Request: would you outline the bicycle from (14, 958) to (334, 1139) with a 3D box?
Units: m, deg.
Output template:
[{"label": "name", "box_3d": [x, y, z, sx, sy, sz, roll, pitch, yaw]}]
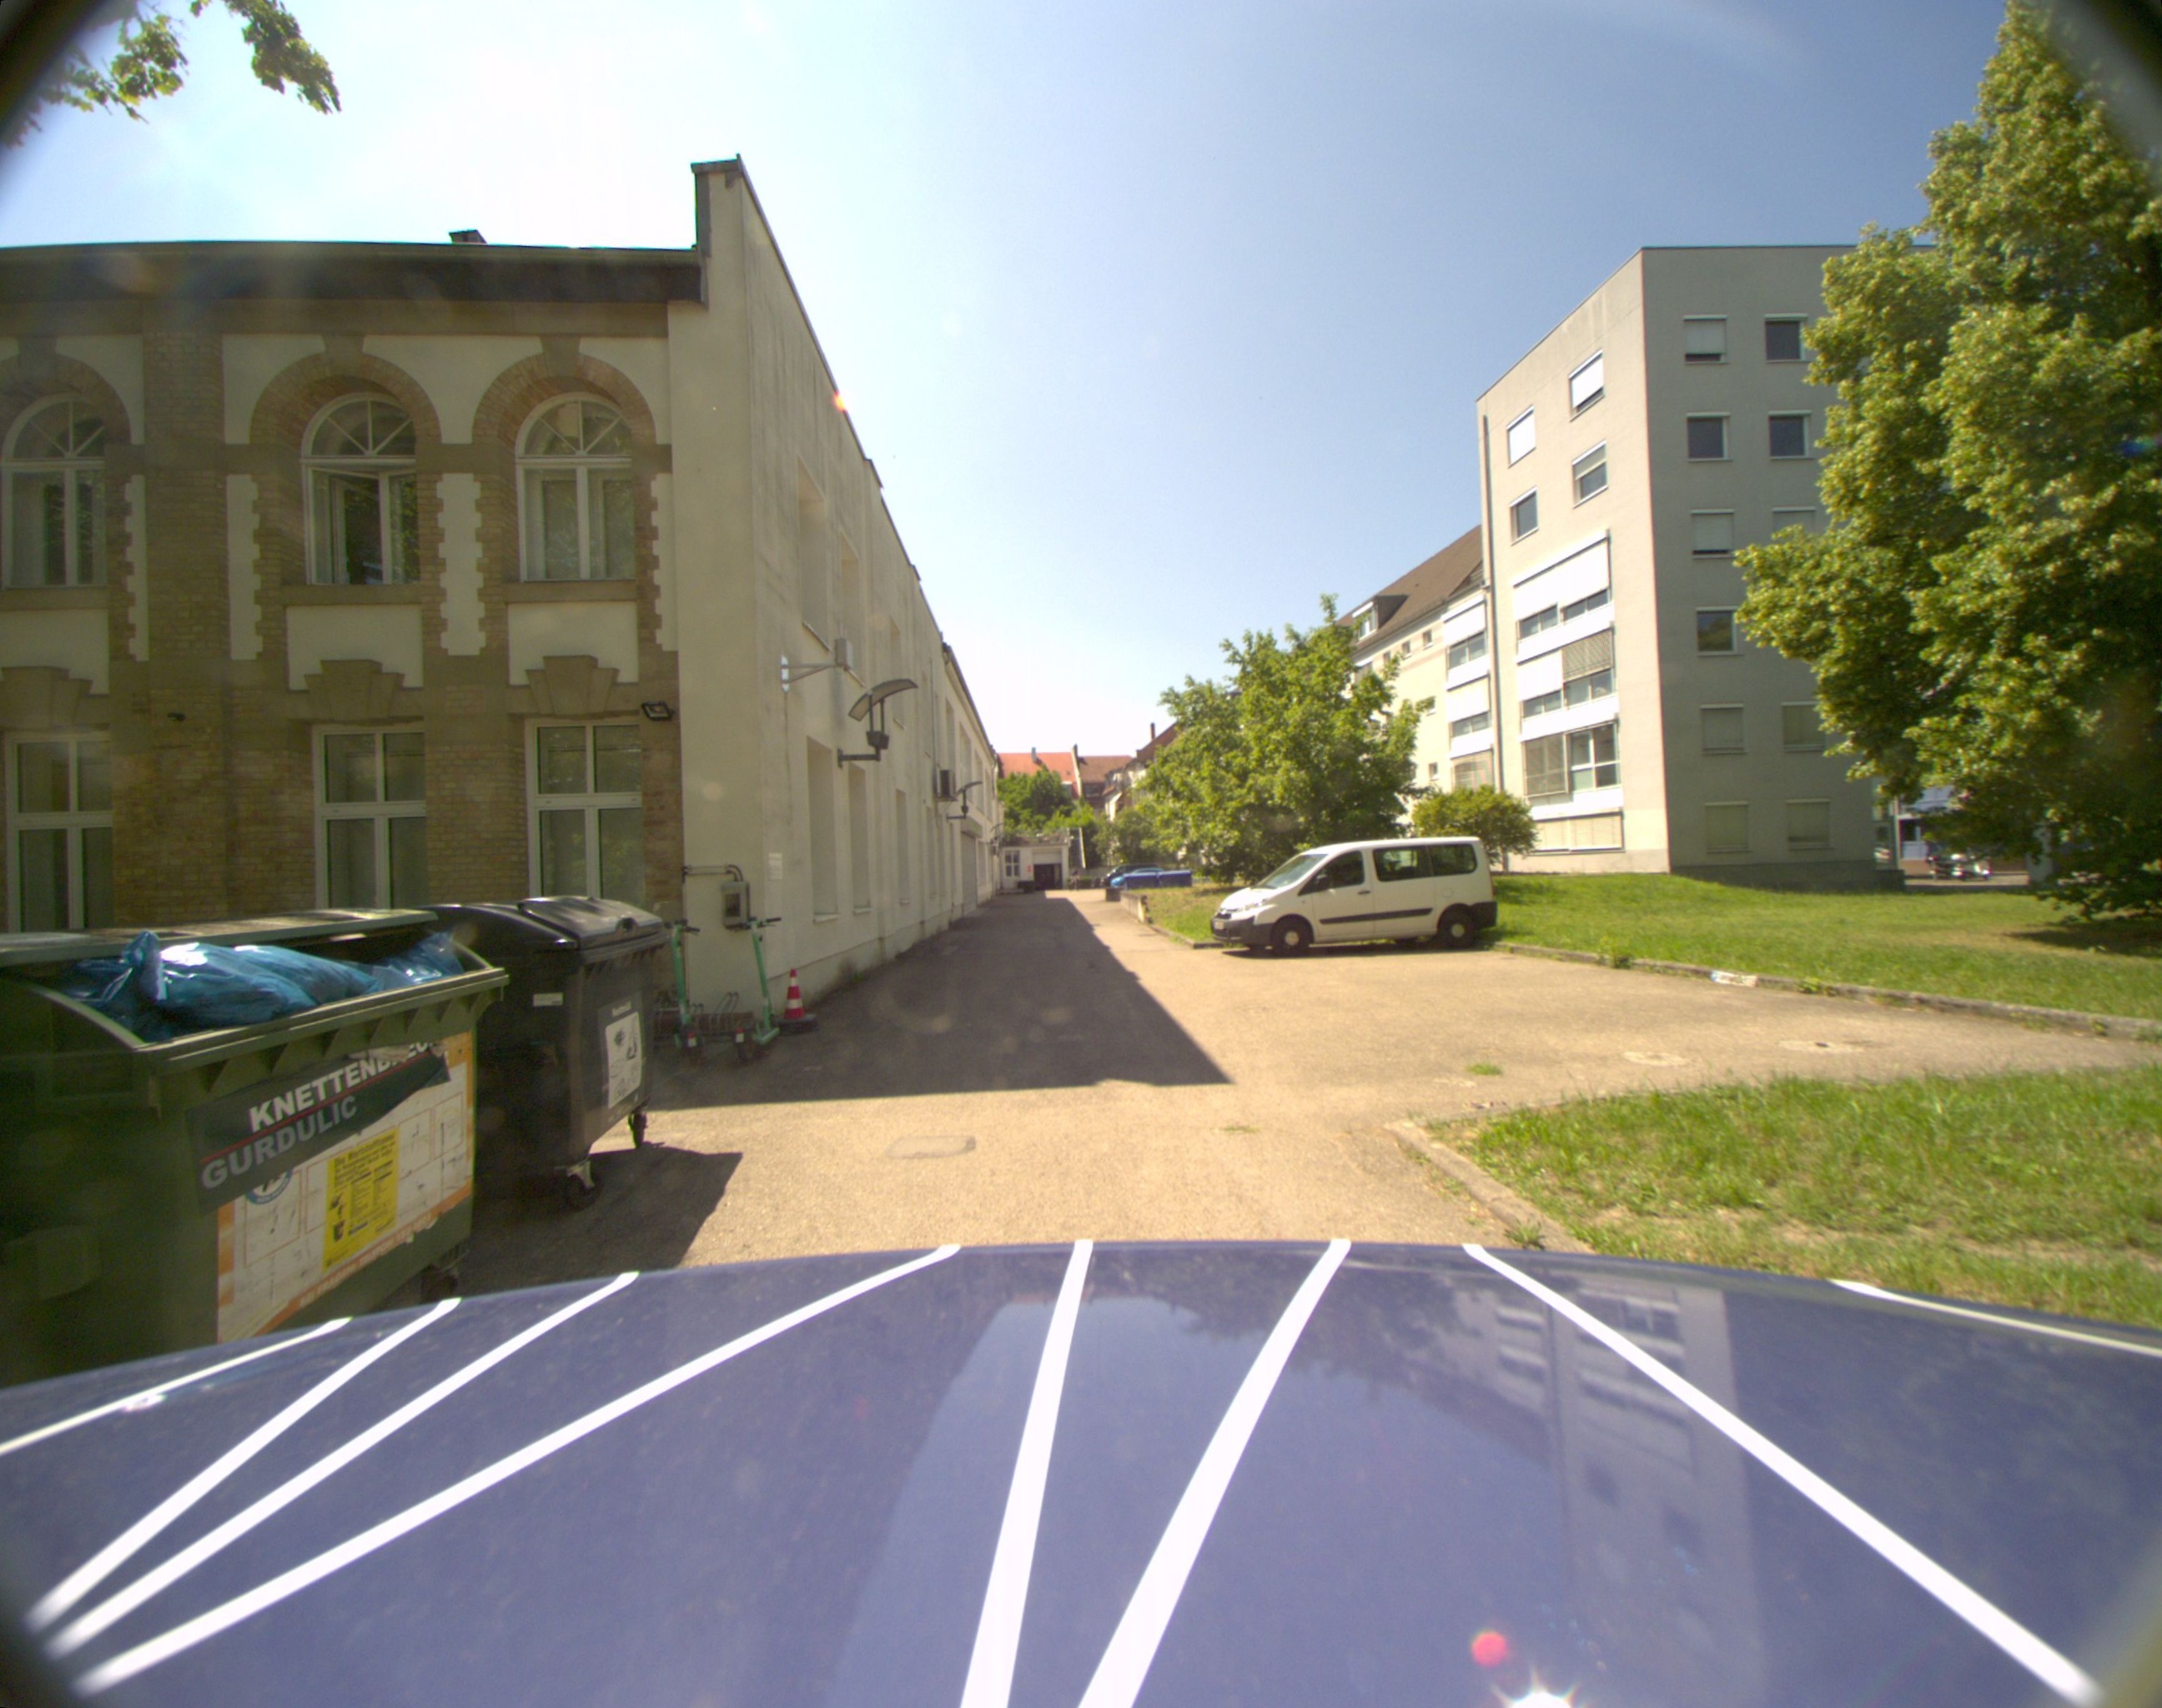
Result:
[{"label": "bicycle", "box_3d": [-7.442, 1.530, 6.399, 0.504, 1.061, 1.835, -2, -1, -2]}]

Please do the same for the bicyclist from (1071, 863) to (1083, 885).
[{"label": "bicyclist", "box_3d": [-0.299, 1.544, 58.295, 0.724, 1.599, 0.978, -3, 0, 4]}]

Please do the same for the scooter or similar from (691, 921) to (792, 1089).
[{"label": "scooter or similar", "box_3d": [-2.889, 1.227, 6.565, 0.465, 1.167, 1.356, -2, 0, -11]}]

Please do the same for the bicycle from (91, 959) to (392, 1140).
[{"label": "bicycle", "box_3d": [-6.873, 1.534, 6.386, 0.504, 1.061, 1.835, -2, -1, -2]}]

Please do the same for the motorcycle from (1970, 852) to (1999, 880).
[{"label": "motorcycle", "box_3d": [39.875, 0.526, 33.544, 2.337, 1.161, 0.698, -2, 0, -42]}]

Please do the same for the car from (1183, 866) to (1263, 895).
[{"label": "car", "box_3d": [7.737, 1.429, 41.584, 3.999, 1.428, 1.710, -1, -1, -7]}]

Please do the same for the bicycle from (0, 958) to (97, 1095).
[{"label": "bicycle", "box_3d": [-9.486, 1.512, 6.208, 0.523, 1.096, 1.835, -2, -1, -2]}]

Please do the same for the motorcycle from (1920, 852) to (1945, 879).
[{"label": "motorcycle", "box_3d": [38.718, 0.508, 34.576, 2.308, 1.161, 0.698, -2, 0, -42]}]

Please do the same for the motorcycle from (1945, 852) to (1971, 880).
[{"label": "motorcycle", "box_3d": [39.316, 0.513, 34.076, 2.315, 1.161, 0.698, -2, 0, -42]}]

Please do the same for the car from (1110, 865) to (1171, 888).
[{"label": "car", "box_3d": [4.432, 1.647, 56.525, 4.169, 1.544, 1.858, -2, -1, -8]}]

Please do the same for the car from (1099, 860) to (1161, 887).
[{"label": "car", "box_3d": [3.793, 1.518, 59.241, 4.450, 1.821, 1.999, -3, 0, -6]}]

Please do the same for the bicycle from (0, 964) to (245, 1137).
[{"label": "bicycle", "box_3d": [-8.193, 1.564, 6.305, 0.504, 1.061, 1.835, -2, -1, -2]}]

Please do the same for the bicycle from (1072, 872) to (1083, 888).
[{"label": "bicycle", "box_3d": [-0.264, 2.005, 58.375, 0.645, 1.167, 1.905, -3, -1, 3]}]

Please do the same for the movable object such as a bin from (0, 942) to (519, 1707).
[{"label": "movable object such as a bin", "box_3d": [-2.564, 1.073, 2.018, 1.183, 1.461, 1.310, -3, 1, -9]}]

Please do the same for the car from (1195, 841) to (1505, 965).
[{"label": "car", "box_3d": [4.680, 0.821, 13.616, 4.804, 1.899, 1.999, -1, -2, -8]}]

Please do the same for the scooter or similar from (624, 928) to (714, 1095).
[{"label": "scooter or similar", "box_3d": [-3.498, 1.279, 6.528, 0.465, 1.167, 1.254, -2, 0, -20]}]

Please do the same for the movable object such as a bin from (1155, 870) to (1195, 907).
[{"label": "movable object such as a bin", "box_3d": [3.551, 1.285, 28.809, 1.258, 1.320, 1.104, -3, -1, -3]}]

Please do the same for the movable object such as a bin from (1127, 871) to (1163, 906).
[{"label": "movable object such as a bin", "box_3d": [2.570, 1.353, 30.524, 1.258, 1.320, 1.104, -3, -1, -3]}]

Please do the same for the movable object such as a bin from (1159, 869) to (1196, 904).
[{"label": "movable object such as a bin", "box_3d": [3.878, 1.294, 30.640, 1.258, 1.320, 1.104, -3, -1, -3]}]

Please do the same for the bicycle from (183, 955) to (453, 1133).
[{"label": "bicycle", "box_3d": [-6.316, 1.503, 6.452, 0.455, 1.061, 1.835, -2, -1, -2]}]

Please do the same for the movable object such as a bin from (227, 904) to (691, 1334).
[{"label": "movable object such as a bin", "box_3d": [-2.804, 1.073, 3.742, 1.159, 1.496, 1.461, -3, 1, -12]}]

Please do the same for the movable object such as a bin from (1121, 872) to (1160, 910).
[{"label": "movable object such as a bin", "box_3d": [2.233, 1.382, 28.723, 1.258, 1.320, 1.104, -3, -1, -3]}]
